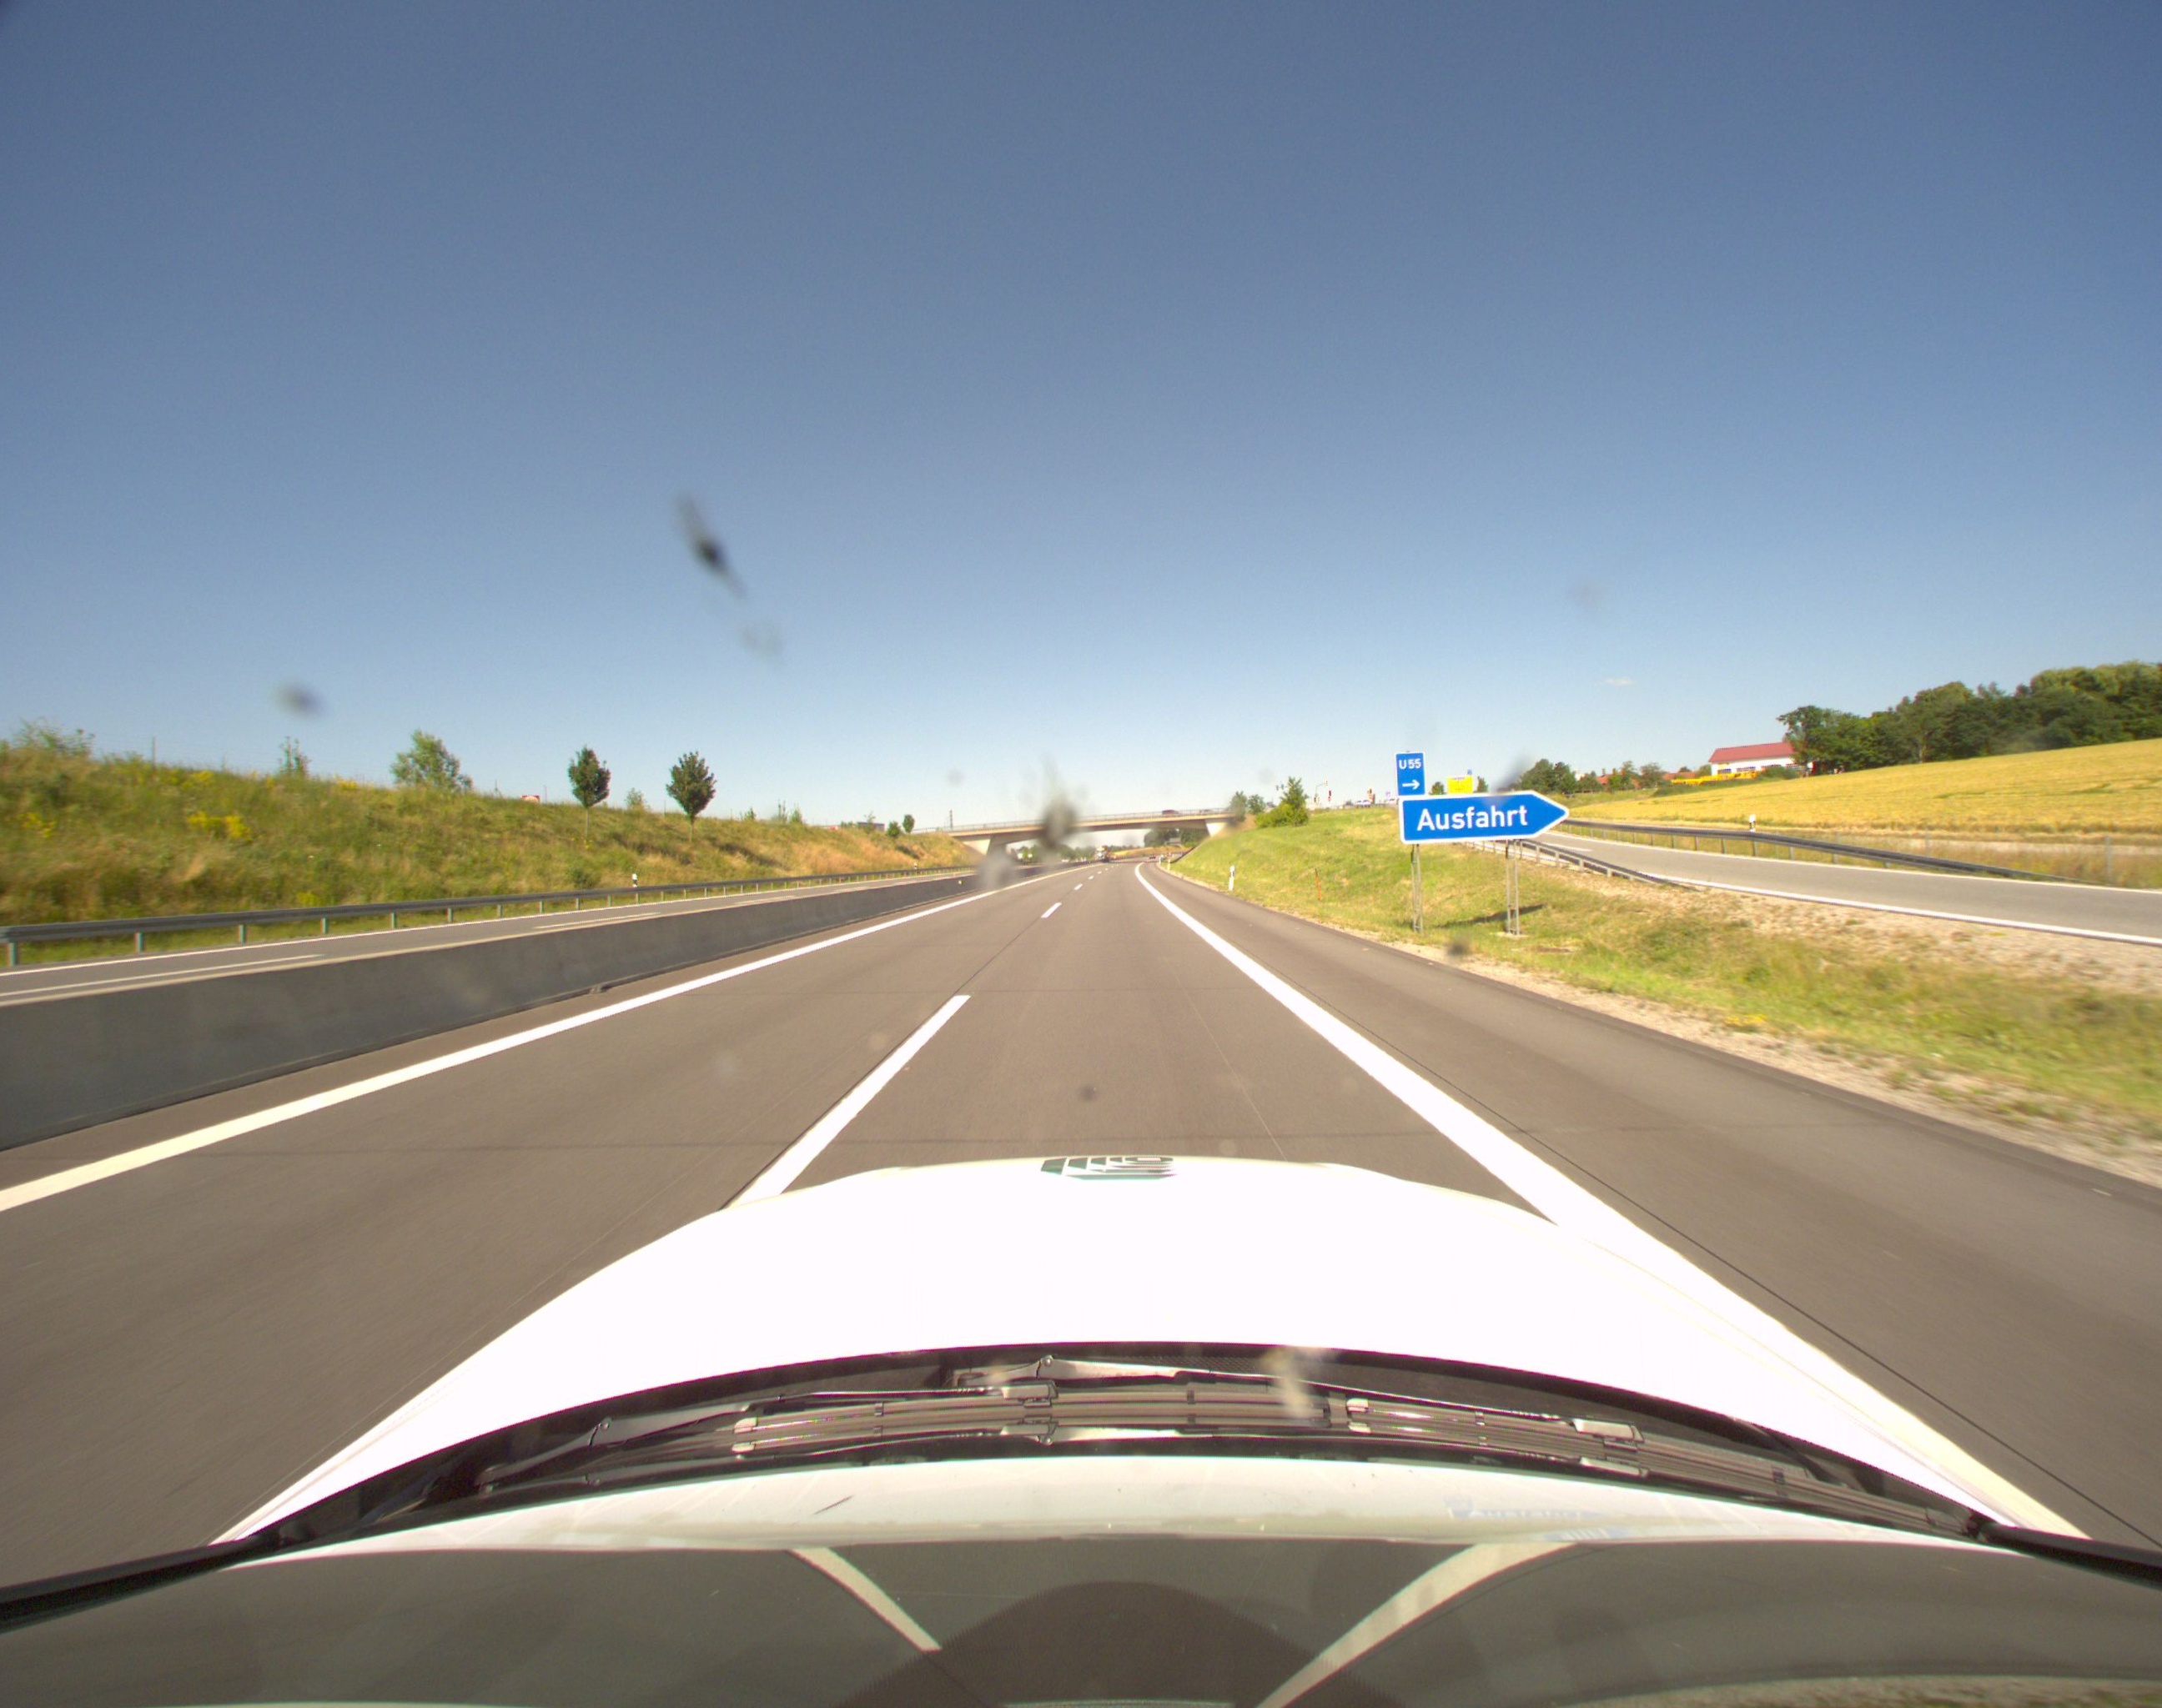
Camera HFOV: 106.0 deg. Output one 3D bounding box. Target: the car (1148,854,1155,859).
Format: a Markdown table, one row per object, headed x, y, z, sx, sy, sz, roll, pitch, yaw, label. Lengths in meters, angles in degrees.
| x | y | z | sx | sy | sz | roll | pitch | yaw | label |
| --- | --- | --- | --- | --- | --- | --- | --- | --- | --- |
| 21.469 | 0.725 | 247.657 | 1.986 | 1.420 | 4.002 | -3 | 0 | 2 | car |

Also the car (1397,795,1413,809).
| x | y | z | sx | sy | sz | roll | pitch | yaw | label |
| --- | --- | --- | --- | --- | --- | --- | --- | --- | --- |
| 51.972 | -8.302 | 130.731 | 1.978 | 2.013 | 4.018 | -3 | 0 | 17 | car |

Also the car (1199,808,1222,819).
| x | y | z | sx | sy | sz | roll | pitch | yaw | label |
| --- | --- | --- | --- | --- | --- | --- | --- | --- | --- |
| 25.743 | -8.037 | 161.870 | 4.239 | 2.021 | 1.998 | -4 | 0 | -4 | car |

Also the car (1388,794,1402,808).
| x | y | z | sx | sy | sz | roll | pitch | yaw | label |
| --- | --- | --- | --- | --- | --- | --- | --- | --- | --- |
| 53.435 | -9.012 | 138.651 | 1.978 | 2.013 | 4.018 | -2 | 0 | 17 | car |

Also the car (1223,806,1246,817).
| x | y | z | sx | sy | sz | roll | pitch | yaw | label |
| --- | --- | --- | --- | --- | --- | --- | --- | --- | --- |
| 30.425 | -8.385 | 161.582 | 4.116 | 1.881 | 1.997 | -4 | 1 | -5 | car |

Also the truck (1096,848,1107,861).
| x | y | z | sx | sy | sz | roll | pitch | yaw | label |
| --- | --- | --- | --- | --- | --- | --- | --- | --- | --- |
| 6.151 | 0.198 | 242.497 | 2.722 | 3.831 | 5.839 | -3 | 0 | 5 | truck |

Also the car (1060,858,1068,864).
| x | y | z | sx | sy | sz | roll | pitch | yaw | label |
| --- | --- | --- | --- | --- | --- | --- | --- | --- | --- |
| -4.248 | 1.697 | 198.801 | 1.857 | 1.531 | 4.565 | -3 | 0 | -2 | car |
